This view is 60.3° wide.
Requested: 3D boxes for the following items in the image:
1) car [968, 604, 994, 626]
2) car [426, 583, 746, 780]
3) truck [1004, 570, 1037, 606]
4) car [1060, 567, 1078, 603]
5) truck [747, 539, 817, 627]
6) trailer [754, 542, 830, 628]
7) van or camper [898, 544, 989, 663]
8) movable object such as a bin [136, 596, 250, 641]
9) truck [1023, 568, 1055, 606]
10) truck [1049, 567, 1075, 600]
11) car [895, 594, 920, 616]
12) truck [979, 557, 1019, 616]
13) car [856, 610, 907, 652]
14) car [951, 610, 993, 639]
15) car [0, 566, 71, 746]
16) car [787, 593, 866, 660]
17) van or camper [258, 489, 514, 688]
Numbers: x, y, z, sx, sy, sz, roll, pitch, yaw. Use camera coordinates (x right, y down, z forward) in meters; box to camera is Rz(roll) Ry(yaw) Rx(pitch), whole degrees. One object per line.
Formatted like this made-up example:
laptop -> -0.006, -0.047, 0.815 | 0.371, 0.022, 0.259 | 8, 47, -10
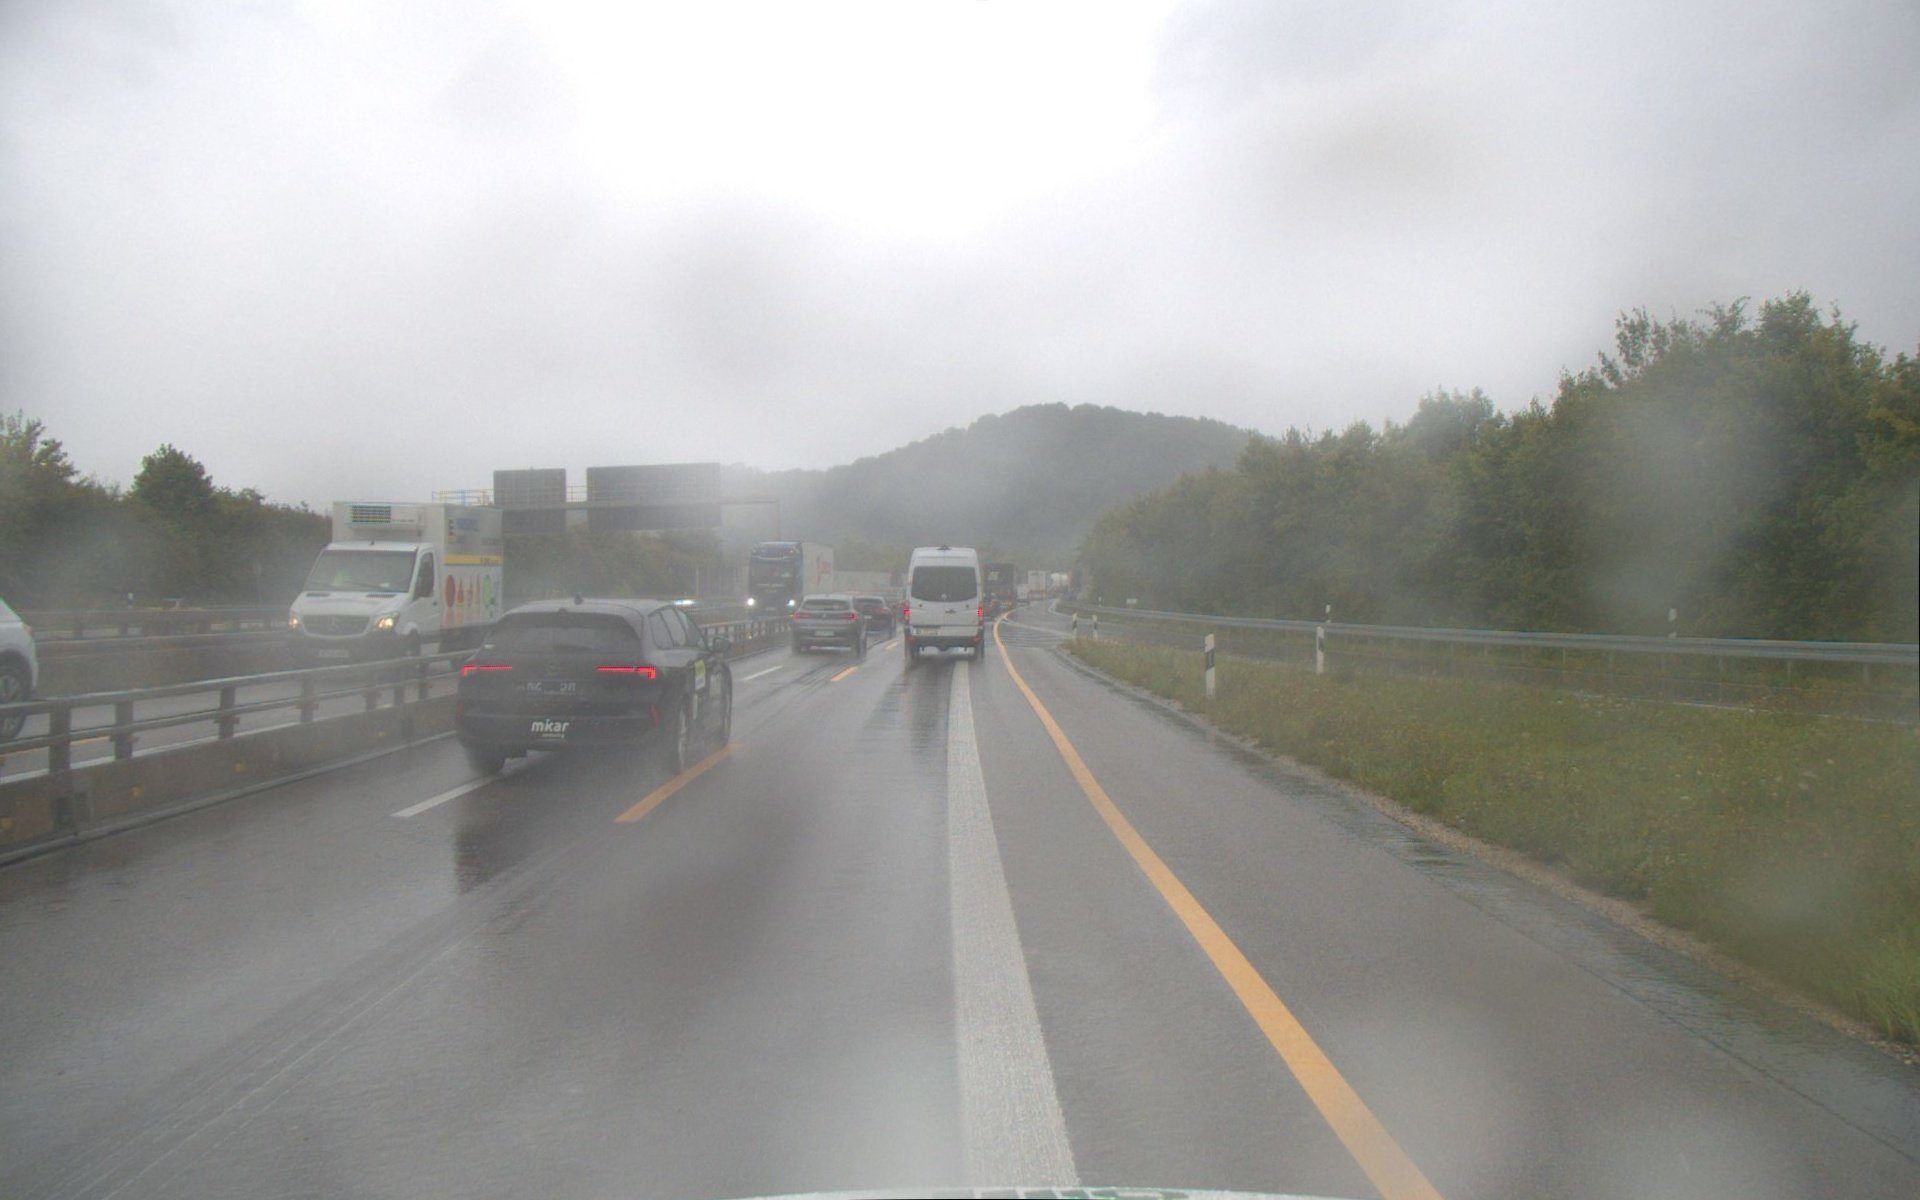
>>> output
car -> 1.245, 0.879, 98.493 | 1.357, 1.278, 3.120 | 0, 0, -4
car -> -3.112, 0.623, 14.802 | 1.900, 1.452, 4.758 | 1, 0, -2
truck -> 6.726, -1.306, 184.947 | 3.252, 3.827, 9.906 | 1, 0, 0
car -> 13.440, -1.829, 203.570 | 2.015, 4.265, 6.748 | 0, 0, 3
truck -> -9.077, -0.813, 84.899 | 2.829, 4.306, 6.326 | 0, -1, 1
trailer -> -9.075, -0.698, 90.975 | 2.833, 4.361, 12.894 | 0, -1, 0
van or camper -> -0.426, 0.093, 41.045 | 2.096, 2.769, 4.647 | 0, 0, -1
movable object such as a bin -> -26.767, 0.643, 57.858 | 2.082, 1.450, 4.000 | 1, 0, 0
truck -> 10.765, -1.666, 223.759 | 3.845, 4.868, 9.912 | 1, -1, 5
truck -> 16.256, -2.541, 262.992 | 3.845, 4.868, 9.912 | 1, -1, 5
car -> -2.694, 0.252, 85.081 | 1.237, 1.097, 3.254 | 0, 0, -1
truck -> 3.354, -1.106, 144.910 | 3.252, 4.868, 9.906 | 1, -1, 0
car -> -2.902, 1.135, 61.935 | 1.815, 1.527, 3.999 | 0, 0, -1
car -> 0.469, 0.978, 66.448 | 1.358, 1.097, 3.118 | 0, 0, -6
car -> -9.825, 0.497, 14.517 | 1.603, 1.697, 4.542 | 1, 0, -1
car -> -3.493, 0.689, 43.899 | 1.829, 1.688, 3.987 | 0, 0, -1
van or camper -> -9.992, -0.160, 29.539 | 2.247, 3.094, 6.697 | 1, -1, -1
